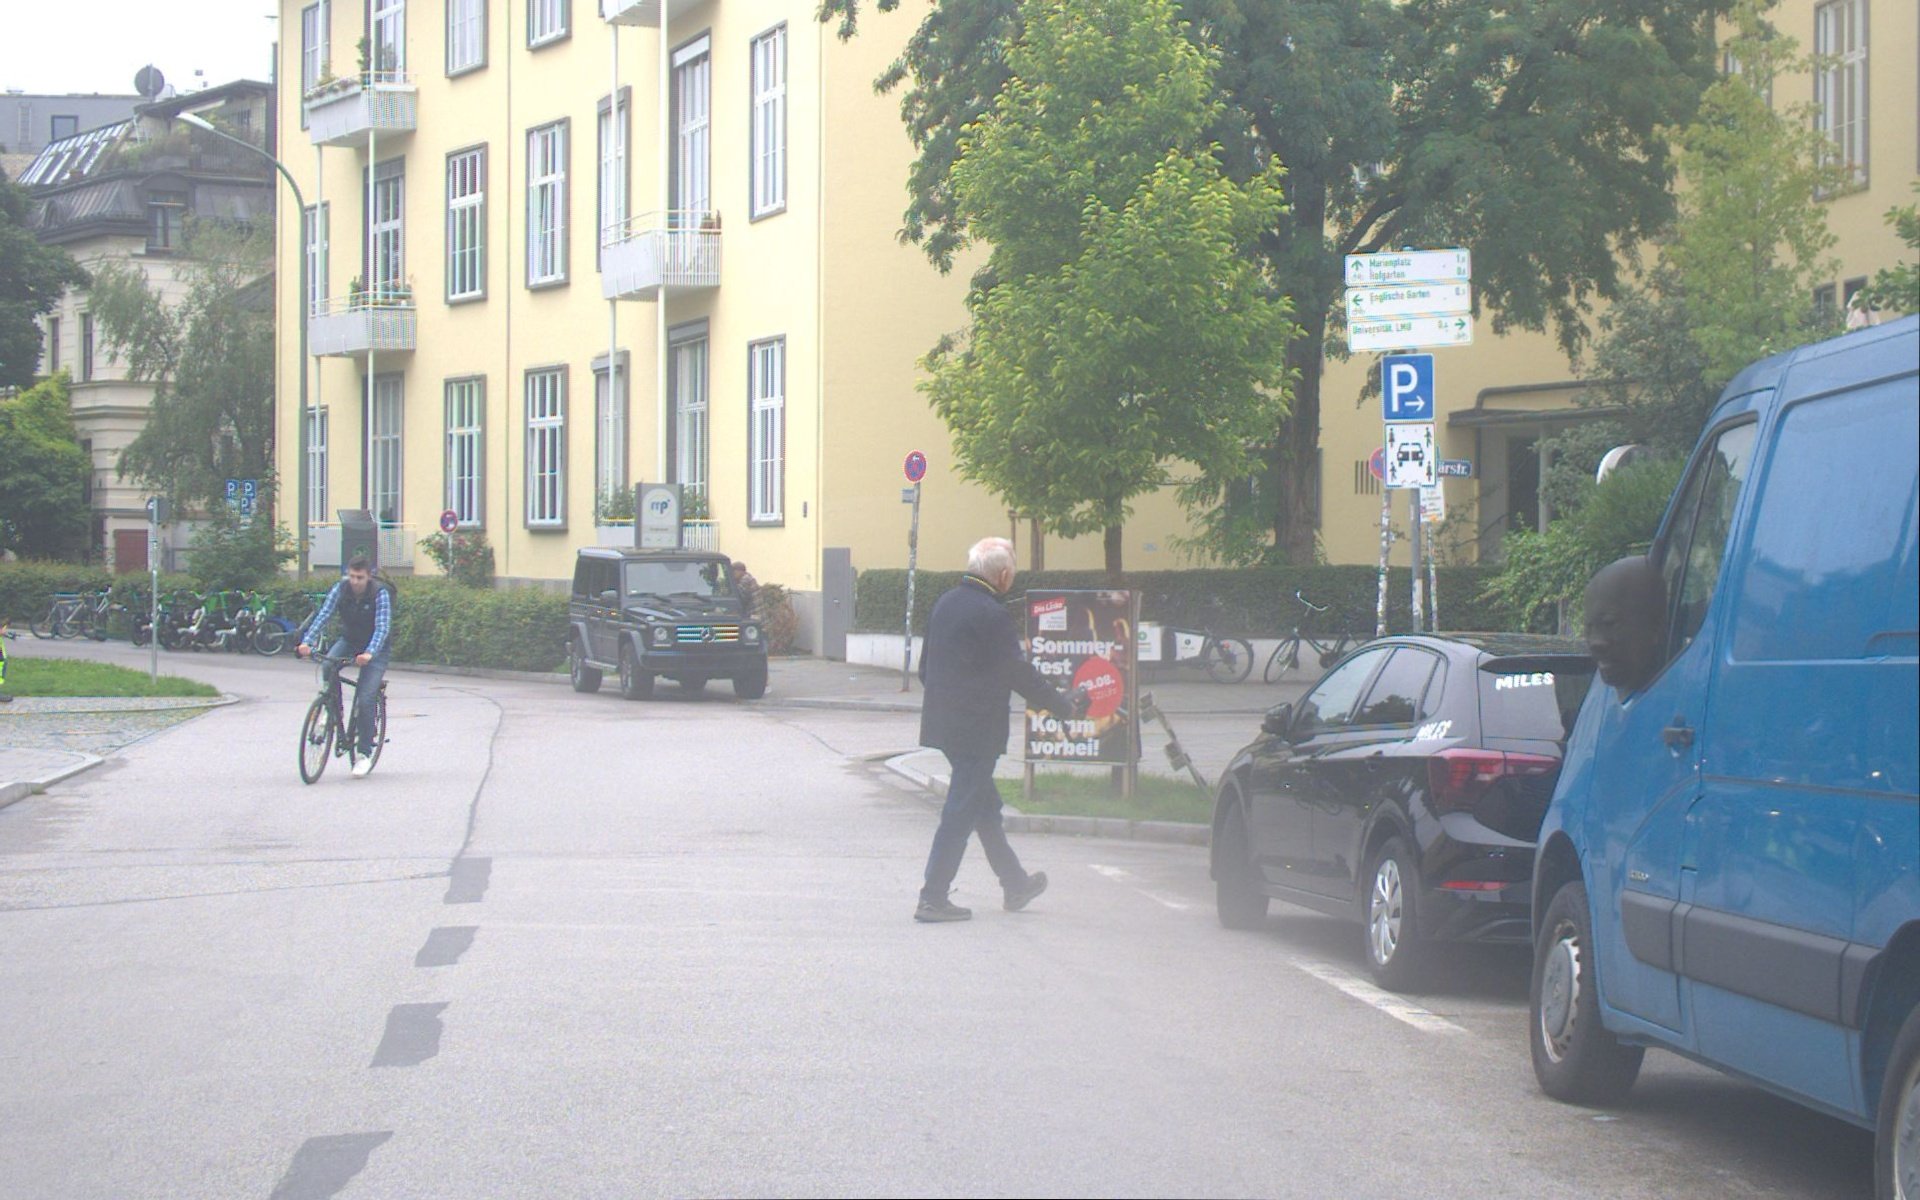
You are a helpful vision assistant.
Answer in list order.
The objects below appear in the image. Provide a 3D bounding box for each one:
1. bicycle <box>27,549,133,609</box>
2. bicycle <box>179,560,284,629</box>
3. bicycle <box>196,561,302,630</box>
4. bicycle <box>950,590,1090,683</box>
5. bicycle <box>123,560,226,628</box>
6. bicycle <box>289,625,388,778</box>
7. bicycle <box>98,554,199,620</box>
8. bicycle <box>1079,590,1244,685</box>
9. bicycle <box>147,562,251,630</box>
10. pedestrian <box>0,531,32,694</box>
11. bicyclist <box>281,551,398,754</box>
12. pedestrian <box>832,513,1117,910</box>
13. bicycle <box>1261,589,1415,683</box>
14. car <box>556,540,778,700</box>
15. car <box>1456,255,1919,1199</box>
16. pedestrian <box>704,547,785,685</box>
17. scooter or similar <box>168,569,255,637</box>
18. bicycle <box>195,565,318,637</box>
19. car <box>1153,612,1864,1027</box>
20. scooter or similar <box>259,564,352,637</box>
[{"bbox_3d":[-19.250,-0.456,75.212,2.148,1.301,0.735,0,1,-24],"label":"bicycle"},{"bbox_3d":[-14.067,-0.124,66.433,0.733,1.301,2.152,1,1,29],"label":"bicycle"},{"bbox_3d":[-13.562,-0.096,65.627,0.733,1.301,2.152,1,1,29],"label":"bicycle"},{"bbox_3d":[0.805,0.482,46.563,1.926,1.197,0.594,2,1,39],"label":"bicycle"},{"bbox_3d":[-15.509,-0.129,67.934,0.733,1.301,2.152,1,1,29],"label":"bicycle"},{"bbox_3d":[-4.987,0.798,27.674,0.670,1.155,2.004,1,0,-7],"label":"bicycle"},{"bbox_3d":[-16.413,-0.276,69.592,0.733,1.301,2.152,1,1,29],"label":"bicycle"},{"bbox_3d":[2.655,0.484,45.295,2.069,1.197,0.595,1,1,16],"label":"bicycle"},{"bbox_3d":[-14.889,-0.084,67.303,0.733,1.301,2.152,1,1,29],"label":"bicycle"},{"bbox_3d":[-12.194,0.144,43.001,0.931,2.007,0.957,1,1,-2],"label":"pedestrian"},{"bbox_3d":[-5.002,0.417,27.770,0.863,1.602,0.947,1,0,-7],"label":"bicyclist"},{"bbox_3d":[0.068,0.523,16.229,0.954,1.795,0.935,1,-3,-44],"label":"pedestrian"},{"bbox_3d":[4.957,0.468,45.170,1.921,1.197,0.595,1,1,-2],"label":"bicycle"},{"bbox_3d":[-3.961,0.225,45.812,1.762,1.868,4.380,4,0,-20],"label":"car"},{"bbox_3d":[2.960,0.458,8.922,2.079,2.226,5.245,5,-1,-4],"label":"car"},{"bbox_3d":[-2.883,0.211,45.975,0.874,1.817,0.799,1,1,-18],"label":"pedestrian"},{"bbox_3d":[-14.528,0.046,66.770,0.733,1.301,1.728,1,1,26],"label":"scooter or similar"},{"bbox_3d":[-12.999,0.006,63.567,2.150,1.301,0.734,0,1,-44],"label":"bicycle"},{"bbox_3d":[2.207,0.845,15.117,1.676,1.384,4.307,4,0,-10],"label":"car"},{"bbox_3d":[-11.942,0.002,62.763,0.733,1.301,2.154,1,1,17],"label":"scooter or similar"}]
